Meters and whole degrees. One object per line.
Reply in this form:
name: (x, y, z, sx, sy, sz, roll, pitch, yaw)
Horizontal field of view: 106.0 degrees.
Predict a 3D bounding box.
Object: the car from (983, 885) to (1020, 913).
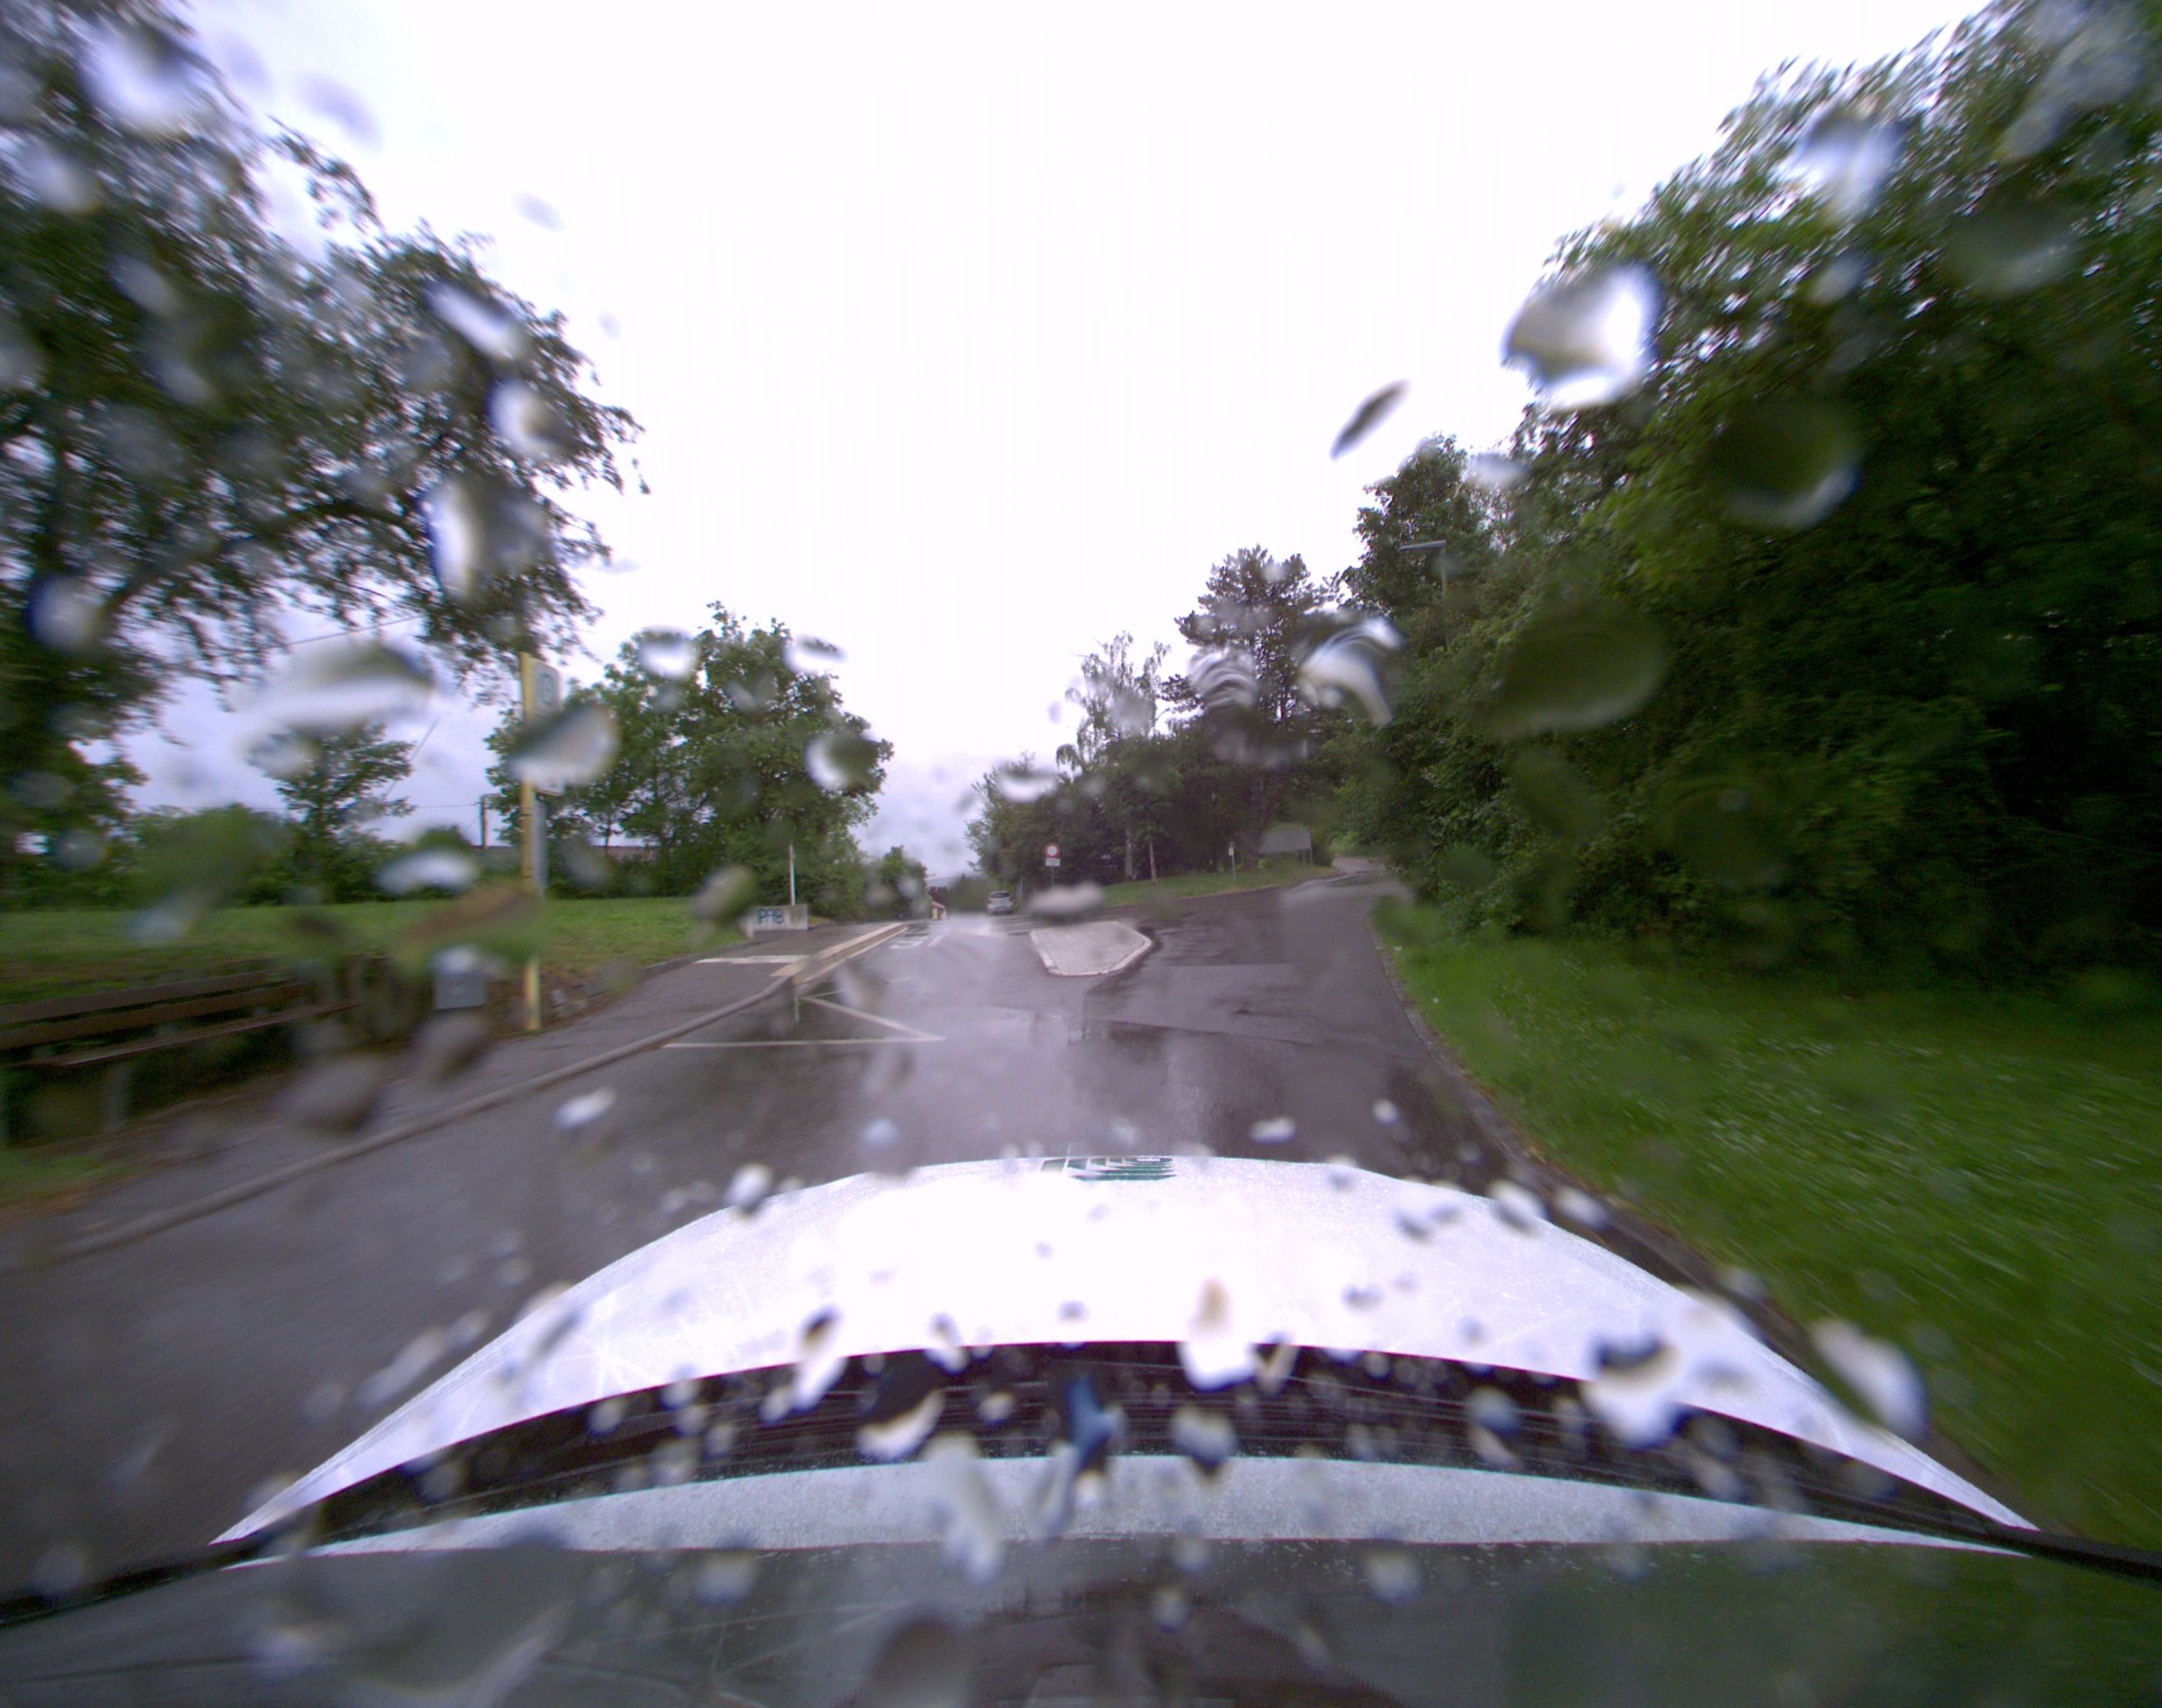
car: (-4.889, 2.819, 50.652, 1.988, 1.583, 3.995, -3, -4, -2)
